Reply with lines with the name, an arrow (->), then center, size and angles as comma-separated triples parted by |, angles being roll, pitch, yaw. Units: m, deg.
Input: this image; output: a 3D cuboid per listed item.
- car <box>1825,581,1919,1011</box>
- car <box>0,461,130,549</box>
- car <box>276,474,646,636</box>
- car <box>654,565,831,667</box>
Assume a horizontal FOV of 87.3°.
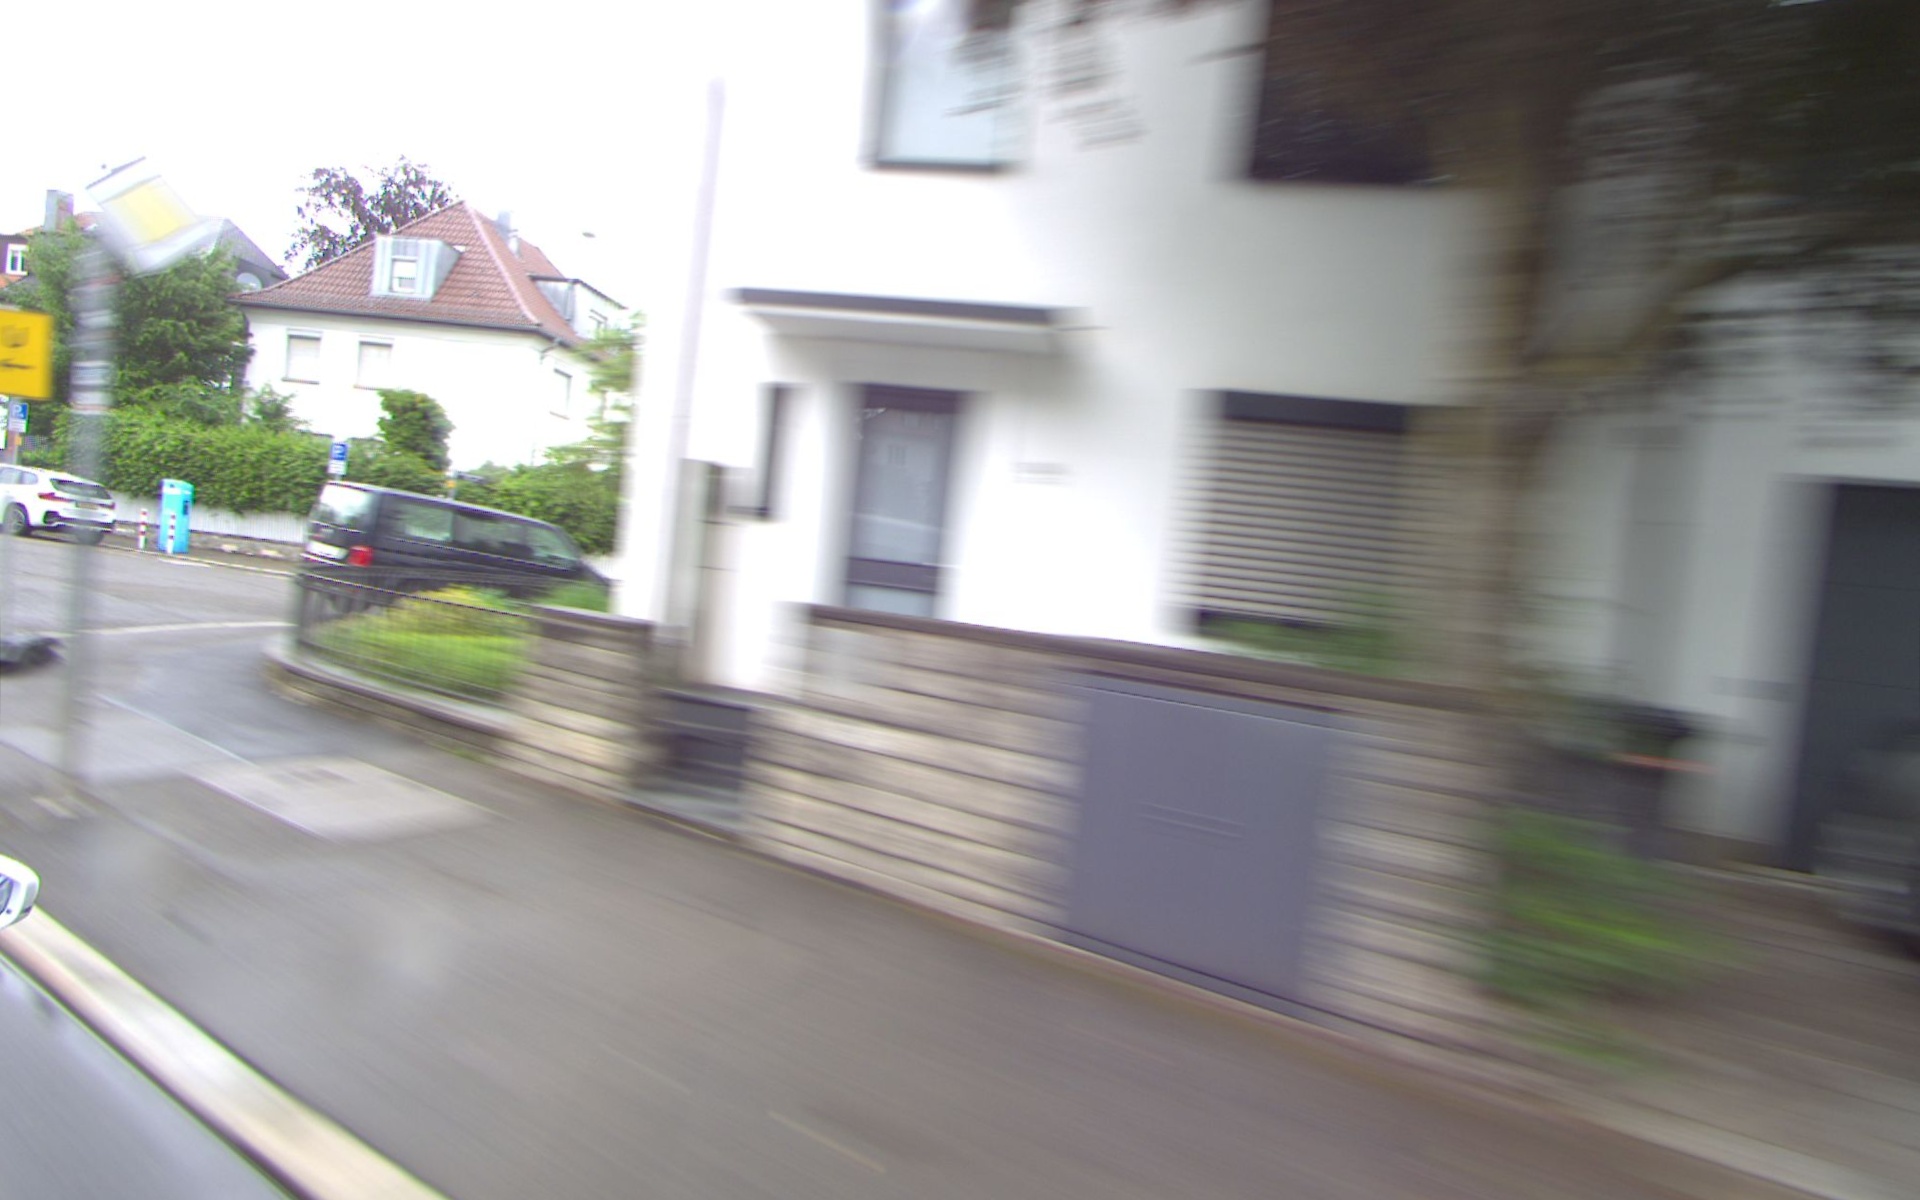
car -> 4.583, 0.913, 3.082 | 1.909, 1.834, 4.730 | 7, 3, 30
car -> -22.856, -2.440, 24.237 | 4.559, 1.692, 1.751 | 8, 0, 11
car -> -7.755, -0.605, 16.170 | 1.910, 1.972, 4.907 | 7, 1, 35
car -> -4.345, 0.372, 20.470 | 1.303, 1.457, 3.261 | 12, 0, 37
